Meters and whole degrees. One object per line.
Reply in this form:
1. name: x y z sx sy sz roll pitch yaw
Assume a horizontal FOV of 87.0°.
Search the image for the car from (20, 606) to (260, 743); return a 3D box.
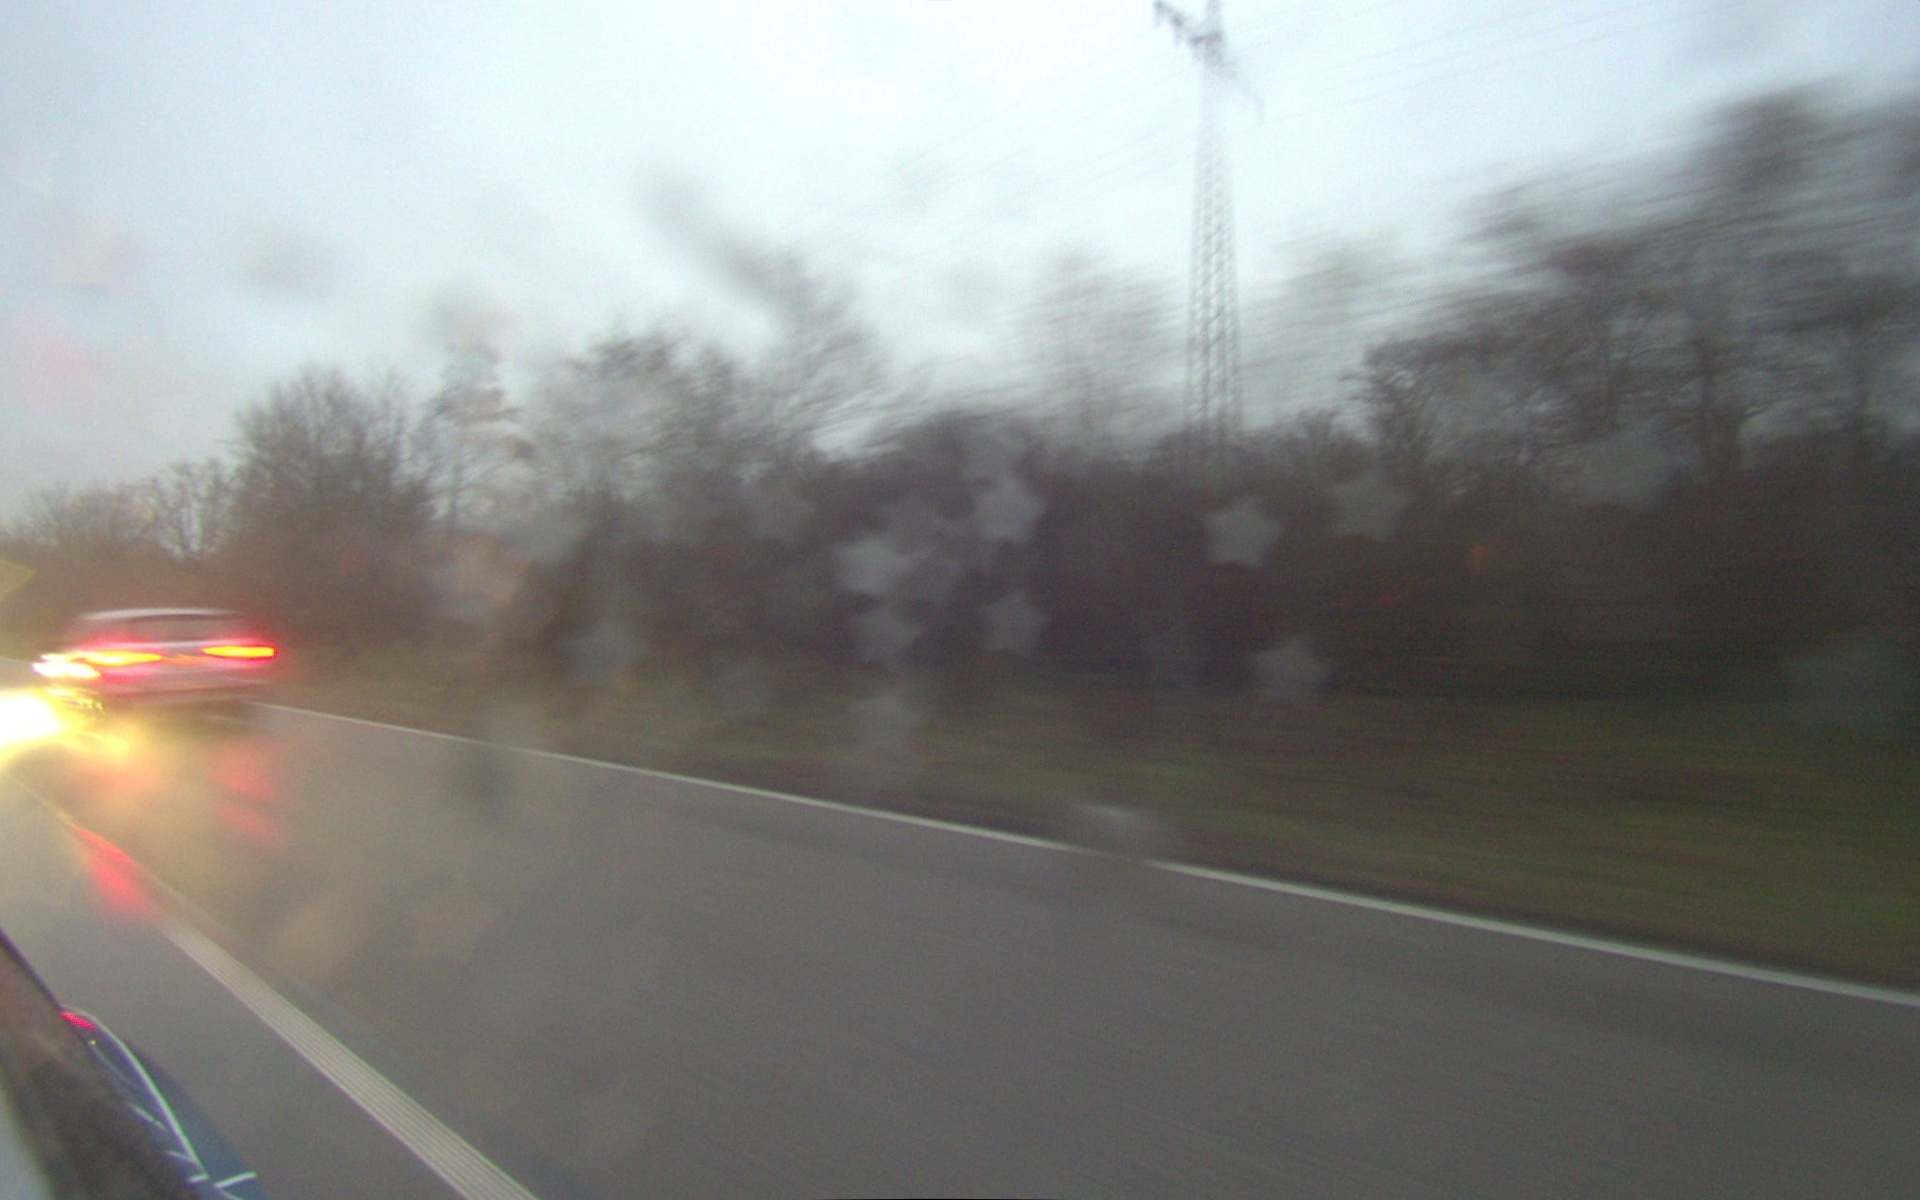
1. car: -11.389 0.913 13.914 4.956 1.546 1.716 -2 0 41
